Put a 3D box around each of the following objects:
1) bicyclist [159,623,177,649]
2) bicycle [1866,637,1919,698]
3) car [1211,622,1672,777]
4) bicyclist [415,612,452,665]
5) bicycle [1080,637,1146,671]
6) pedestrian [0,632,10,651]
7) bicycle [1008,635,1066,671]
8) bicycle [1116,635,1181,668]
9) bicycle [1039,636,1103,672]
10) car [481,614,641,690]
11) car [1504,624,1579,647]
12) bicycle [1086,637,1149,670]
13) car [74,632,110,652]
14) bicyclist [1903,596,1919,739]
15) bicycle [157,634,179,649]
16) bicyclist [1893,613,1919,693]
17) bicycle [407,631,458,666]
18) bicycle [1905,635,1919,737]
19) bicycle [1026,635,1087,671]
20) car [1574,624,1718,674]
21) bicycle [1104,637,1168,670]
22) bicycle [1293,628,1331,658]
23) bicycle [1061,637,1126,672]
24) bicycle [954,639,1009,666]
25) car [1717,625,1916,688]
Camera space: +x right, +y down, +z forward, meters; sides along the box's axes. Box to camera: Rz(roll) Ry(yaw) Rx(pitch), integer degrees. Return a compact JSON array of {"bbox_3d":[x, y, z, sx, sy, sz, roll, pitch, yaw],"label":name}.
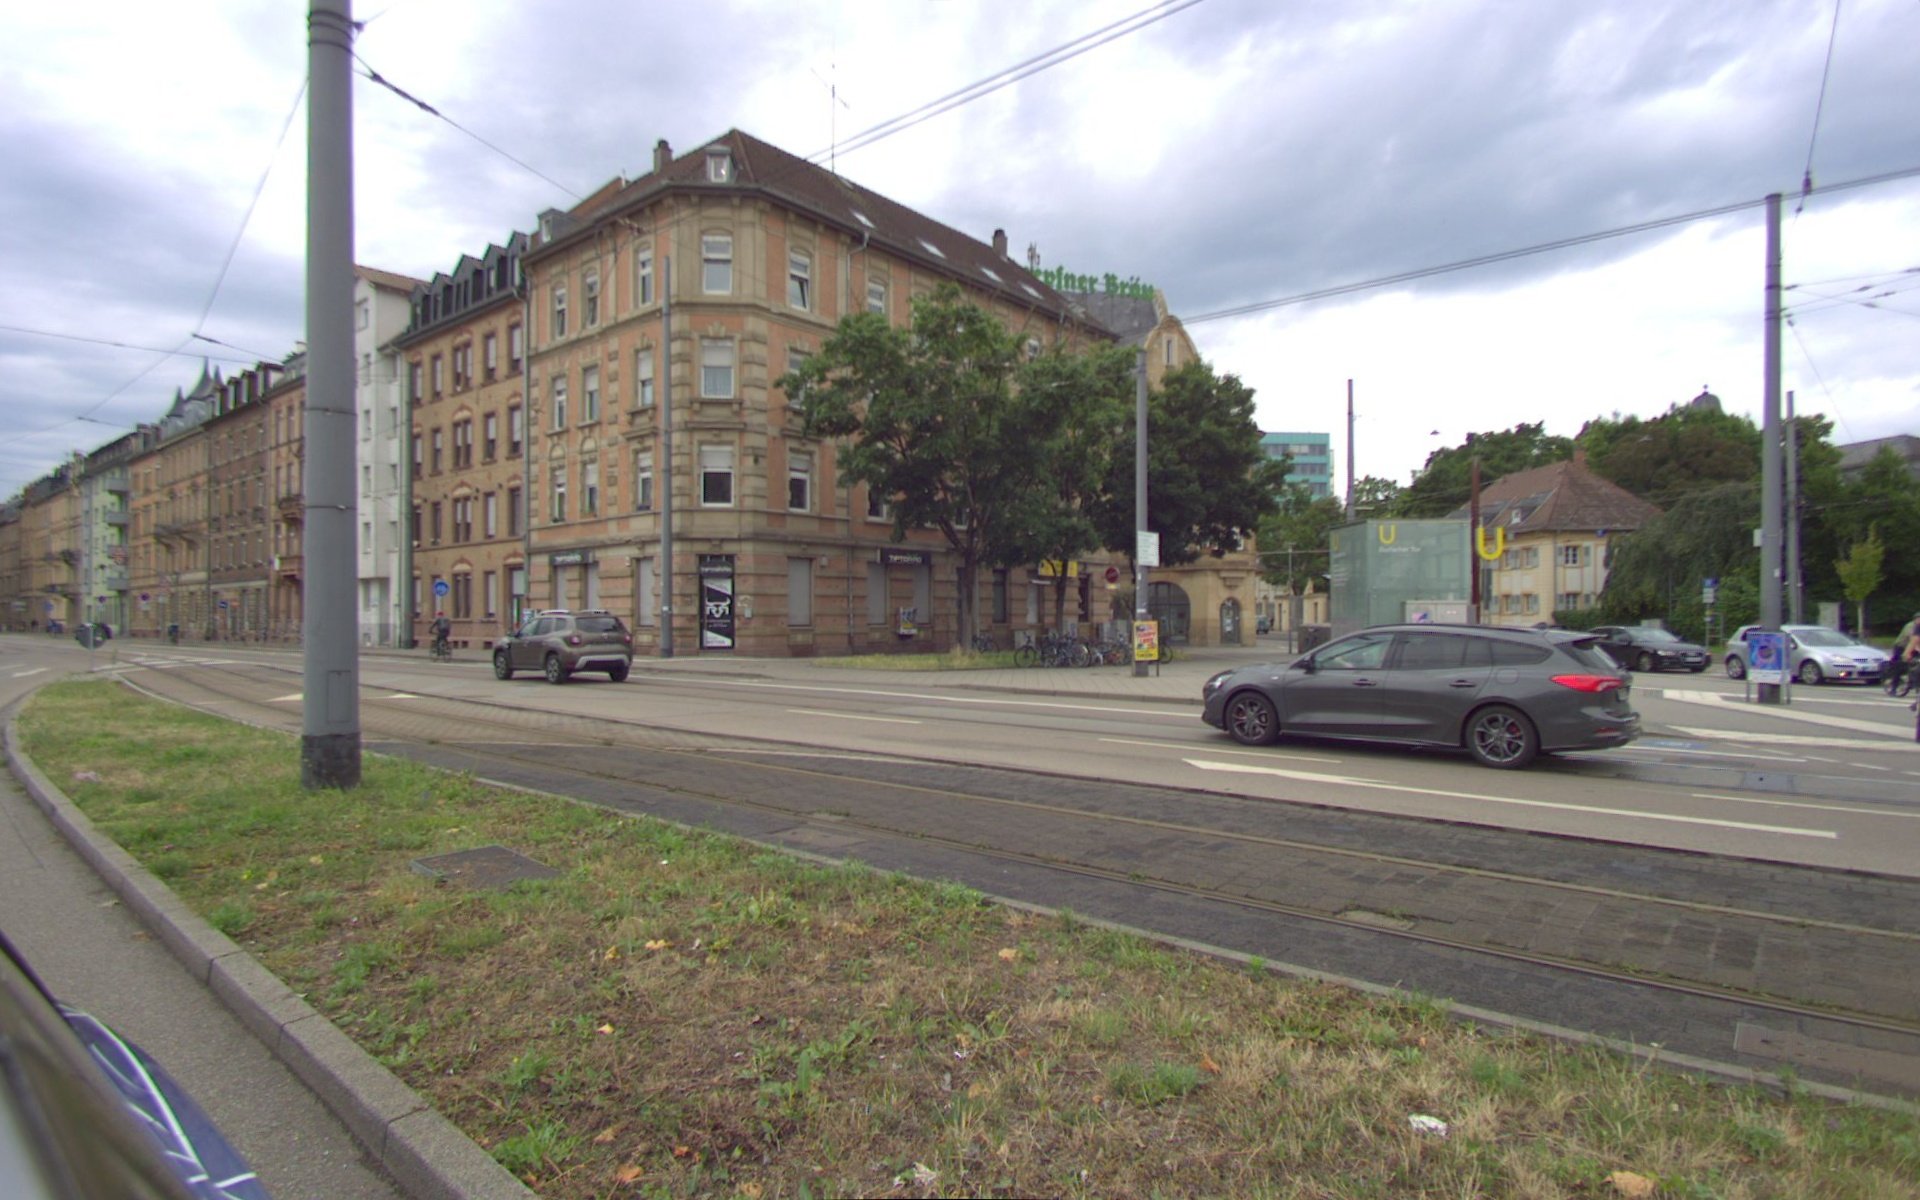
[{"bbox_3d":[-48.057,2.182,61.384,0.941,1.506,0.655,-1,-1,37],"label":"bicyclist"},{"bbox_3d":[19.961,1.383,20.716,0.845,1.217,2.197,0,-1,1],"label":"bicycle"},{"bbox_3d":[5.231,0.968,11.397,4.391,1.406,1.675,-1,-2,42],"label":"car"},{"bbox_3d":[-19.010,1.389,36.551,1.048,1.906,0.821,-2,-3,39],"label":"bicyclist"},{"bbox_3d":[4.803,1.692,31.840,0.601,0.994,2.224,0,-1,-39],"label":"bicycle"},{"bbox_3d":[-104.937,4.538,111.182,0.733,2.029,0.804,-1,-2,41],"label":"pedestrian"},{"bbox_3d":[2.250,1.545,29.758,0.492,0.994,1.872,1,-2,-41],"label":"bicycle"},{"bbox_3d":[6.360,1.730,34.287,0.678,1.047,2.224,0,-1,-39],"label":"bicycle"},{"bbox_3d":[3.317,1.604,30.511,0.472,1.014,2.224,0,-1,-39],"label":"bicycle"},{"bbox_3d":[-9.567,1.176,24.148,4.226,1.652,1.779,-1,-1,40],"label":"car"},{"bbox_3d":[35.615,2.159,62.090,1.904,1.298,4.006,0,-1,-7],"label":"car"},{"bbox_3d":[5.036,1.690,32.499,0.492,0.994,2.224,0,-1,-39],"label":"bicycle"},{"bbox_3d":[-68.930,3.316,80.358,3.828,1.491,1.828,-1,-2,43],"label":"car"},{"bbox_3d":[12.782,0.856,13.054,0.816,1.812,1.015,-3,-3,43],"label":"bicyclist"},{"bbox_3d":[-48.029,2.516,61.355,1.716,0.922,0.600,-1,-1,37],"label":"bicycle"},{"bbox_3d":[19.966,1.084,20.717,0.843,1.635,0.917,0,-2,1],"label":"bicyclist"},{"bbox_3d":[-19.079,1.750,36.588,2.232,1.217,0.816,-2,-3,40],"label":"bicycle"},{"bbox_3d":[12.732,1.085,12.995,0.816,1.252,1.971,-3,-4,43],"label":"bicycle"},{"bbox_3d":[2.865,1.562,30.185,0.513,0.994,2.041,0,-1,-39],"label":"bicycle"},{"bbox_3d":[21.799,1.524,32.383,1.673,1.460,4.144,-1,-1,-1],"label":"car"},{"bbox_3d":[5.760,1.731,33.162,0.576,0.994,2.224,0,-1,-39],"label":"bicycle"},{"bbox_3d":[13.935,1.705,40.129,0.730,1.123,2.361,-1,-1,3],"label":"bicycle"},{"bbox_3d":[4.035,1.639,30.843,0.492,0.994,2.224,0,-1,-39],"label":"bicycle"},{"bbox_3d":[0.812,1.972,38.004,1.982,0.921,0.655,-4,-5,31],"label":"bicycle"},{"bbox_3d":[21.900,1.387,26.137,1.739,1.465,4.156,-1,-1,4],"label":"car"}]
